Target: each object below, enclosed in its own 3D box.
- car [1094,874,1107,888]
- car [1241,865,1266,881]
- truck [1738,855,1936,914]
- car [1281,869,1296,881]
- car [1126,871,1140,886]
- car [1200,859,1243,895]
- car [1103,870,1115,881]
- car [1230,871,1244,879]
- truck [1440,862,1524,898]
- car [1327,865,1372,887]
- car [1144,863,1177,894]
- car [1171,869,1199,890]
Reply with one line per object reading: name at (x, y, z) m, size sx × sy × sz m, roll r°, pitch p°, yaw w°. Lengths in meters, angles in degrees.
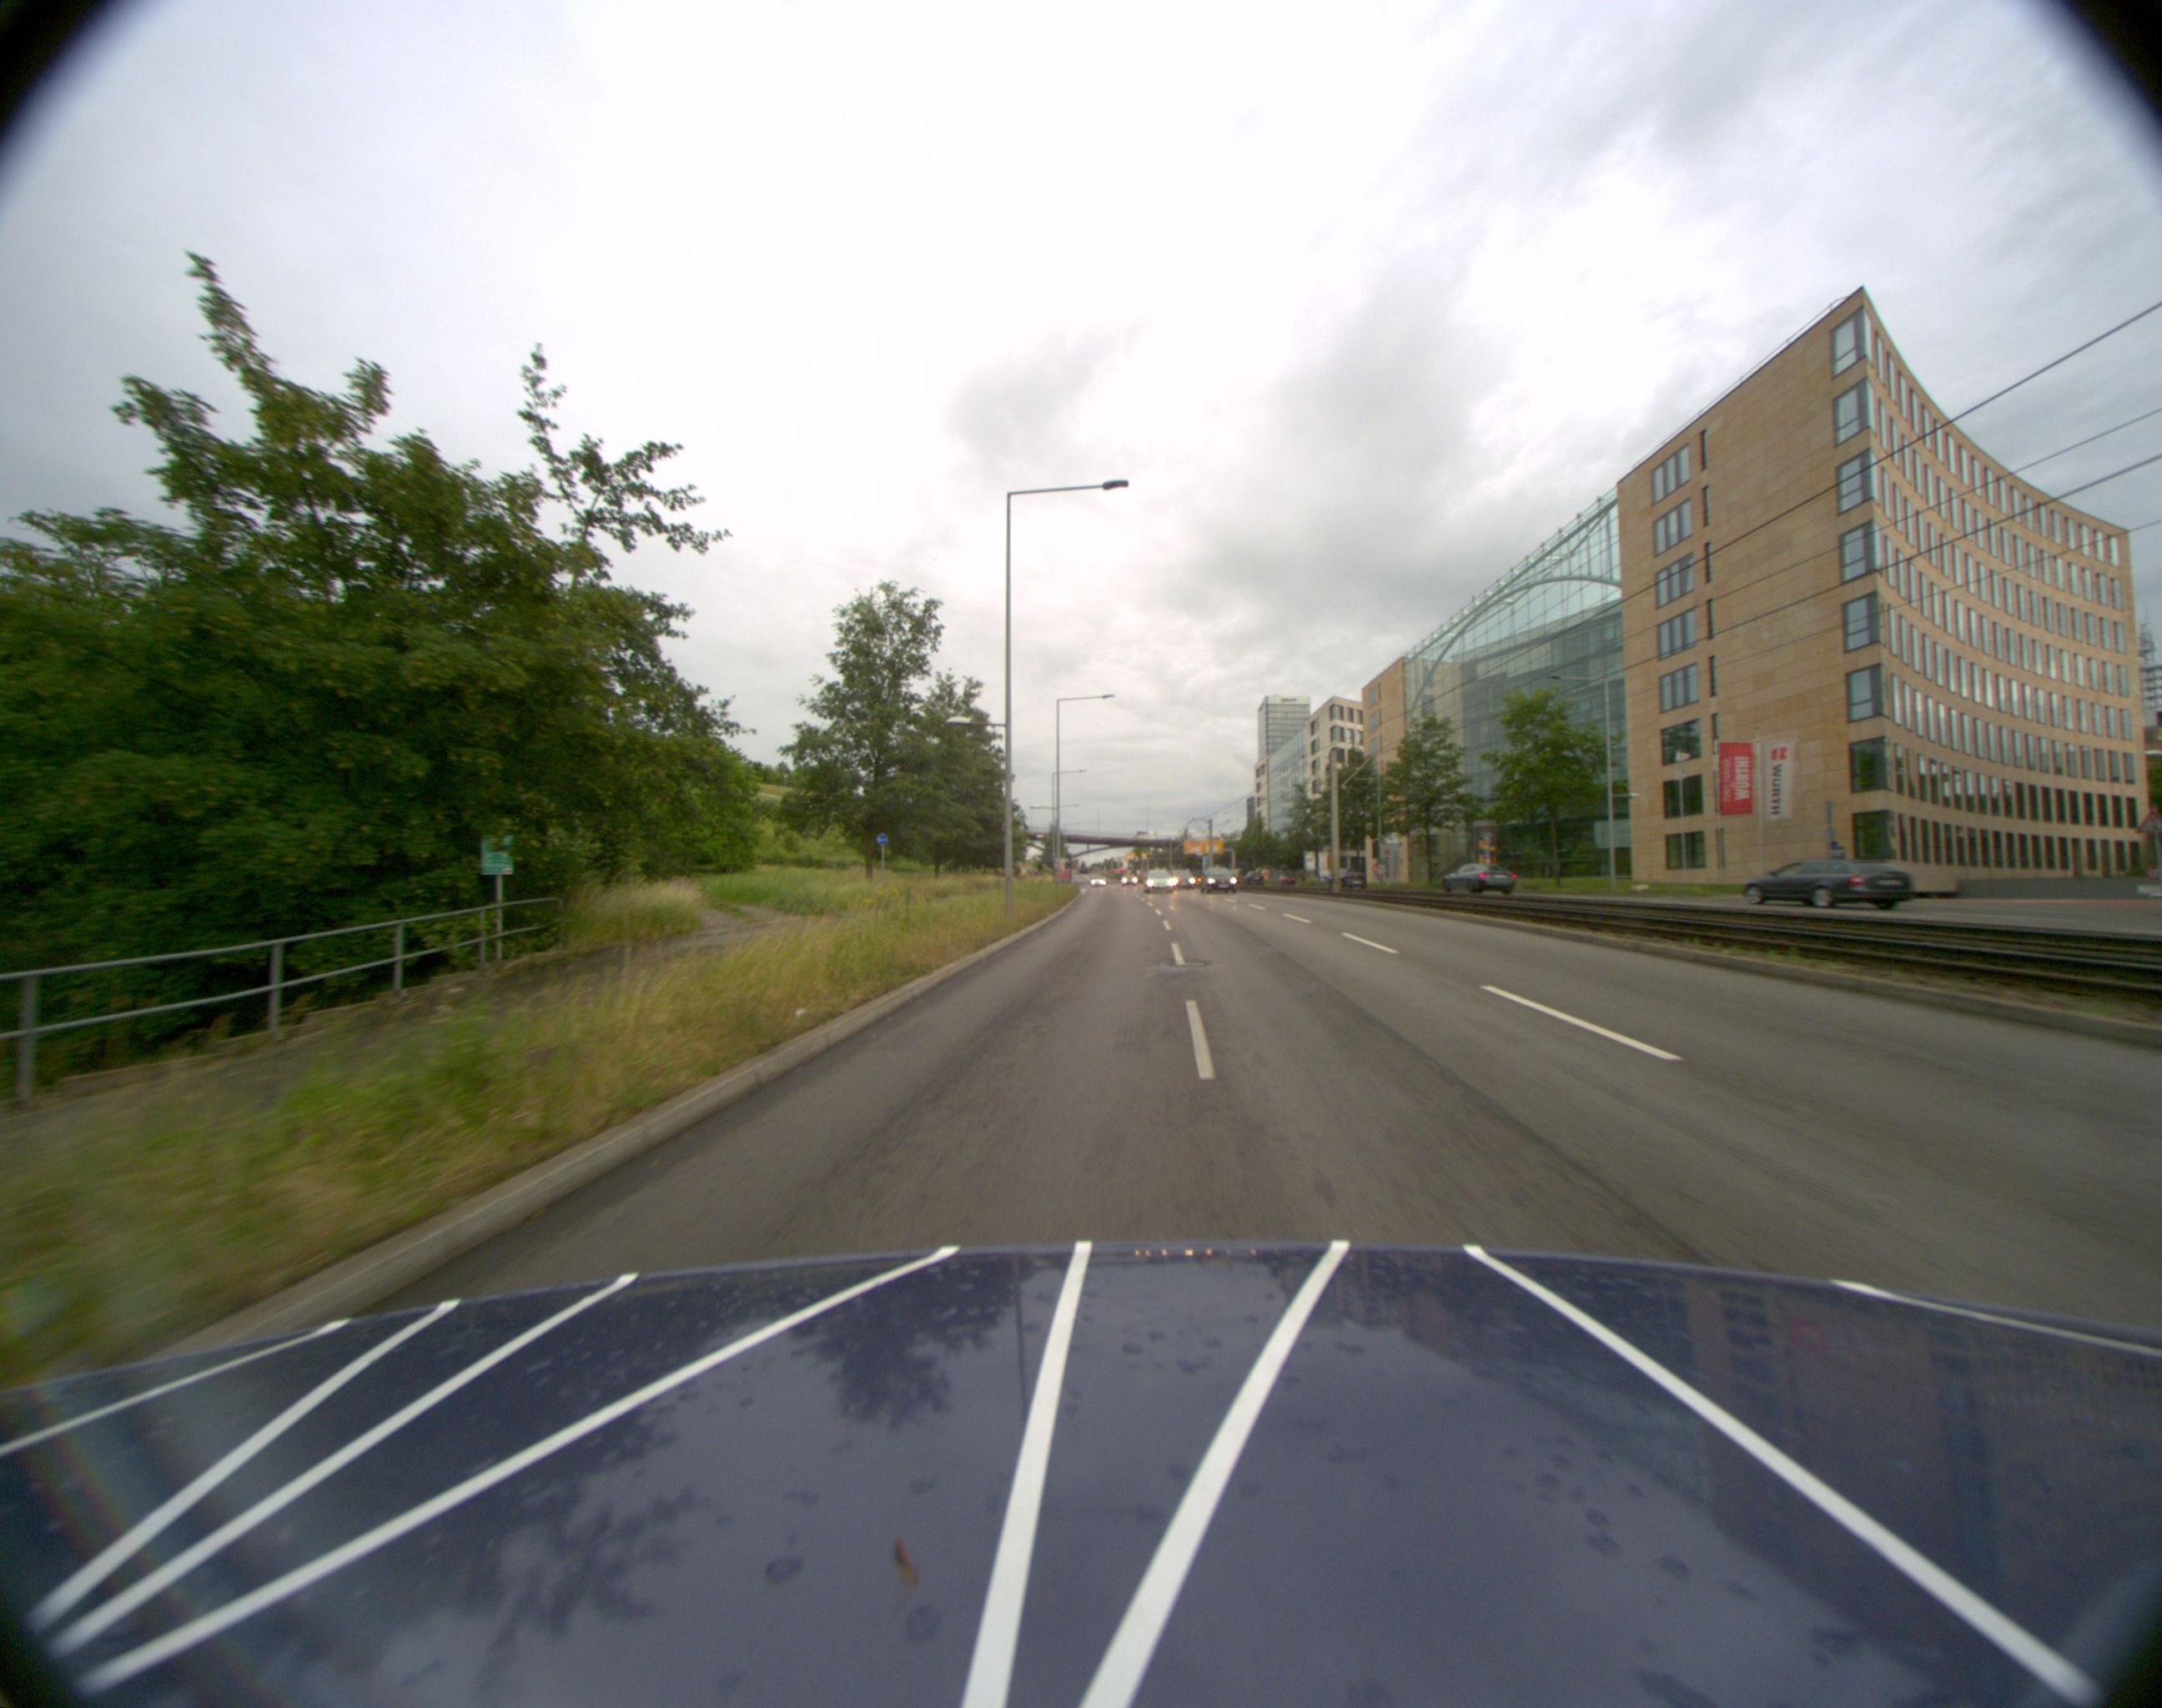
car at (2.770, 3.751, 106.152) m, size 1.794 × 1.621 × 4.378 m, roll -2°, pitch 0°, yaw 2°
car at (19.640, 2.150, 86.577) m, size 1.810 × 1.607 × 4.385 m, roll -2°, pitch 0°, yaw 0°
truck at (22.718, 0.842, 23.149) m, size 1.945 × 1.559 × 4.547 m, roll 1°, pitch 1°, yaw 9°
car at (26.813, 2.704, 98.115) m, size 1.669 × 1.453 × 4.243 m, roll -2°, pitch 0°, yaw 17°
car at (7.062, 3.361, 103.577) m, size 1.794 × 1.857 × 4.378 m, roll -2°, pitch 0°, yaw 2°
car at (8.160, 1.294, 44.456) m, size 1.794 × 1.857 × 4.378 m, roll -2°, pitch 0°, yaw 2°
car at (4.515, 3.522, 123.400) m, size 1.793 × 1.621 × 4.378 m, roll -2°, pitch 0°, yaw 3°
car at (28.635, 3.901, 139.442) m, size 1.845 × 1.477 × 4.432 m, roll 2°, pitch -2°, yaw 2°
truck at (19.274, 1.205, 36.772) m, size 1.946 × 1.559 × 4.595 m, roll 1°, pitch 0°, yaw 5°
car at (18.962, 1.522, 53.790) m, size 1.672 × 1.453 × 4.238 m, roll 1°, pitch 0°, yaw 0°
car at (5.169, 1.558, 49.896) m, size 1.794 × 1.857 × 4.378 m, roll -2°, pitch 0°, yaw 2°
car at (8.441, 2.045, 61.959) m, size 1.794 × 1.535 × 4.378 m, roll -2°, pitch 0°, yaw 2°
